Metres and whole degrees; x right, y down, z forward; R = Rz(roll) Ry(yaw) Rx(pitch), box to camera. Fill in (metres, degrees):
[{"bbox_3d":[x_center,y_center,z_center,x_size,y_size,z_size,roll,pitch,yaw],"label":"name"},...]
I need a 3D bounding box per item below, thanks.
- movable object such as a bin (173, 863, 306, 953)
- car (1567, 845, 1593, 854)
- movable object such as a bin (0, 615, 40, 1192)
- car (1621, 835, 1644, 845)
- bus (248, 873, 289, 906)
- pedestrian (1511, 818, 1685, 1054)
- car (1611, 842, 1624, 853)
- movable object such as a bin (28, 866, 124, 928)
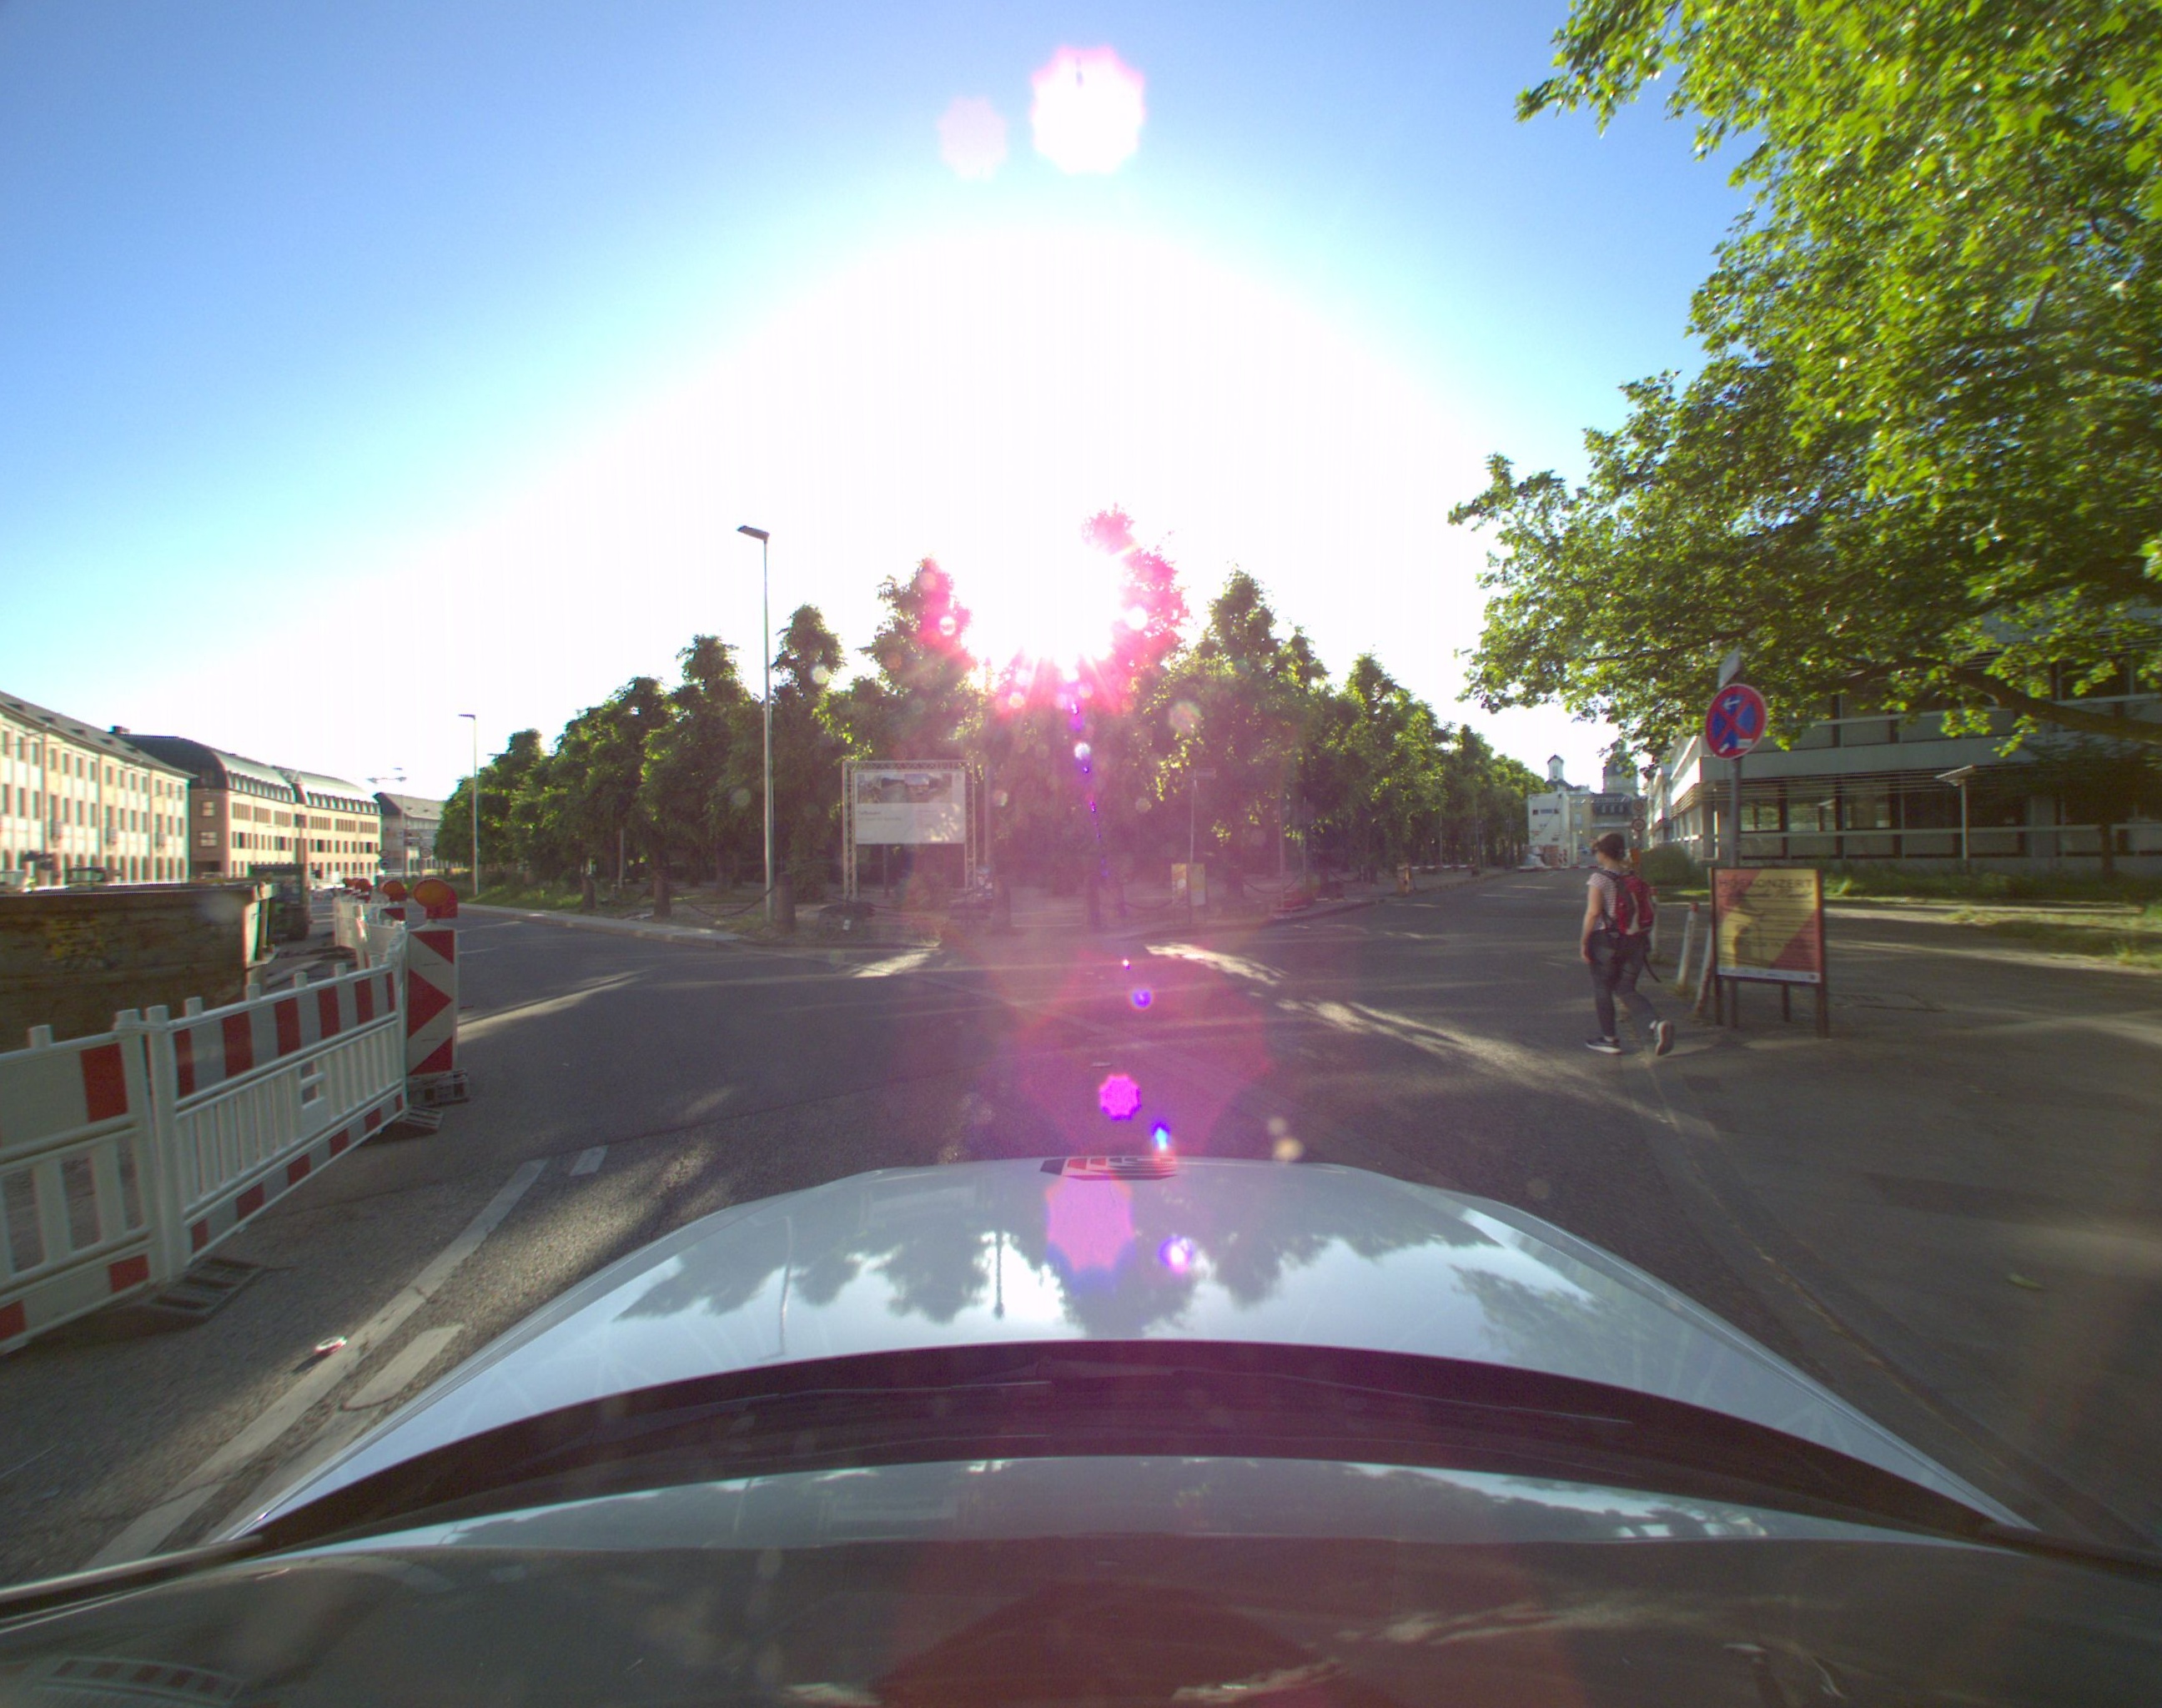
[{"bbox_3d":[-21.253,1.252,20.745,2.068,1.949,4.282,-1,0,-43],"label":"movable object such as a bin"},{"bbox_3d":[101.269,-0.888,165.358,4.513,1.790,2.013,0,0,33],"label":"car"},{"bbox_3d":[-6.376,0.242,1.280,2.560,3.031,5.907,-2,-1,-12],"label":"movable object such as a bin"},{"bbox_3d":[115.867,-2.948,171.087,3.948,2.013,2.013,0,0,38],"label":"car"},{"bbox_3d":[-70.030,3.101,70.286,2.090,2.686,4.628,-1,-3,-40],"label":"bus"},{"bbox_3d":[3.826,0.572,6.108,0.705,1.623,0.940,-1,-1,3],"label":"pedestrian"},{"bbox_3d":[75.266,-0.880,114.196,1.440,1.499,4.026,-2,0,33],"label":"car"},{"bbox_3d":[-44.168,1.795,35.913,2.093,2.475,4.560,-1,0,-44],"label":"movable object such as a bin"}]
